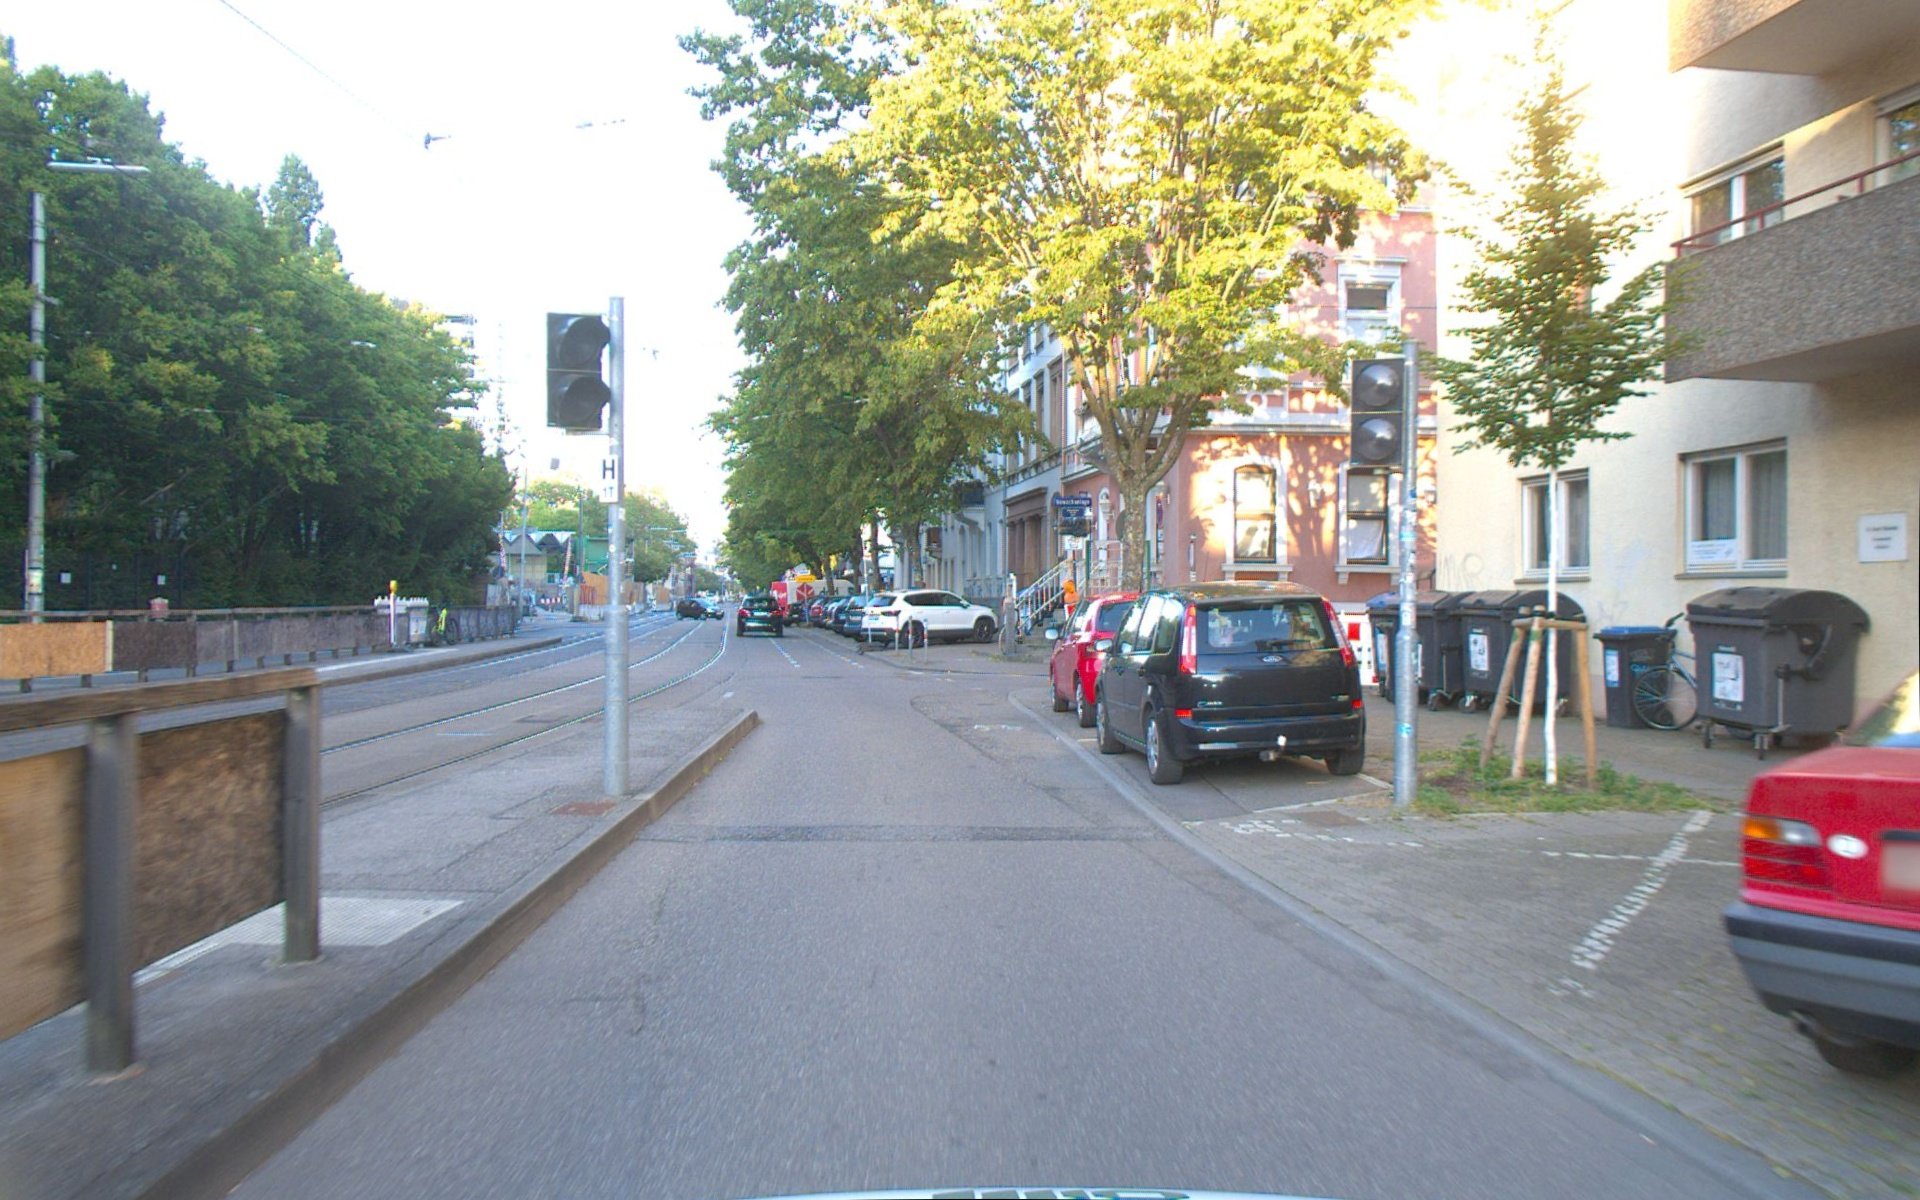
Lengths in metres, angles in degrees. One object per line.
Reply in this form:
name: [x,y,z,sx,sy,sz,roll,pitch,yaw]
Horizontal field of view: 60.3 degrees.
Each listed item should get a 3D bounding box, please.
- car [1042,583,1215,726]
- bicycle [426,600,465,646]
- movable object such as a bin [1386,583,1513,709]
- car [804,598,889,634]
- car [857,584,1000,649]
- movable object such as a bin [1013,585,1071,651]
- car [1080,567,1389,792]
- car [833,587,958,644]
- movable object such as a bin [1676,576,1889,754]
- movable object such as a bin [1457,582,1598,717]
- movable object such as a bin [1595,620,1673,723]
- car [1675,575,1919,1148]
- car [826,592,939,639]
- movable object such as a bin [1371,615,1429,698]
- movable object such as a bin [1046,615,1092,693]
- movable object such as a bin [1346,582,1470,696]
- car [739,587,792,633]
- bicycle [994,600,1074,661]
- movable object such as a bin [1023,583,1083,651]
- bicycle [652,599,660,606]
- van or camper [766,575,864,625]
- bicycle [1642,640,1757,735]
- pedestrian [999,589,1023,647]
car: [1.989,0.609,20.455,1.533,1.563,3.690,-2,0,-3]
bicycle: [-12.590,0.543,40.547,0.453,1.094,2.020,0,0,-4]
movable object such as a bin: [6.117,0.559,20.727,1.052,1.528,1.316,0,0,-10]
car: [-5.748,0.800,83.850,3.909,1.631,1.818,-3,0,-35]
car: [-0.891,0.445,47.679,3.916,1.655,1.651,-3,2,-39]
movable object such as a bin: [1.940,0.417,39.371,1.119,1.528,1.396,0,0,-9]
car: [2.260,0.607,14.713,1.709,1.660,4.084,-2,0,-5]
car: [-2.142,0.505,55.529,1.870,1.697,3.927,-3,0,45]
movable object such as a bin: [7.414,0.560,14.993,1.092,1.528,1.479,0,0,-9]
movable object such as a bin: [6.647,0.565,19.436,1.119,1.528,1.268,0,0,-9]
movable object such as a bin: [7.172,0.751,17.613,0.543,1.066,0.570,0,0,-10]
car: [4.237,0.688,5.384,4.162,1.479,1.625,0,0,-36]
car: [-2.884,0.569,61.808,3.918,1.631,1.814,-2,-1,-40]
movable object such as a bin: [5.785,0.740,21.751,0.543,1.066,0.570,0,0,-10]
movable object such as a bin: [1.683,0.825,25.520,0.697,1.174,0.588,1,0,4]
movable object such as a bin: [6.200,0.523,22.985,1.119,1.528,1.595,0,0,-8]
car: [-7.608,0.383,64.432,1.847,1.648,3.992,3,-1,-8]
bicycle: [1.620,0.651,36.191,1.903,1.288,0.592,0,0,-43]
movable object such as a bin: [2.127,0.380,37.914,1.119,1.528,1.396,0,0,-9]
bicycle: [-35.827,0.280,194.703,0.931,0.864,2.690,0,0,-11]
van or camper: [-8.335,-0.016,95.515,5.506,2.574,2.054,-3,1,-43]
bicycle: [7.453,0.865,16.711,0.406,0.879,1.221,0,0,-13]
pedestrian: [1.455,0.506,47.428,0.575,1.637,0.623,0,0,-8]
